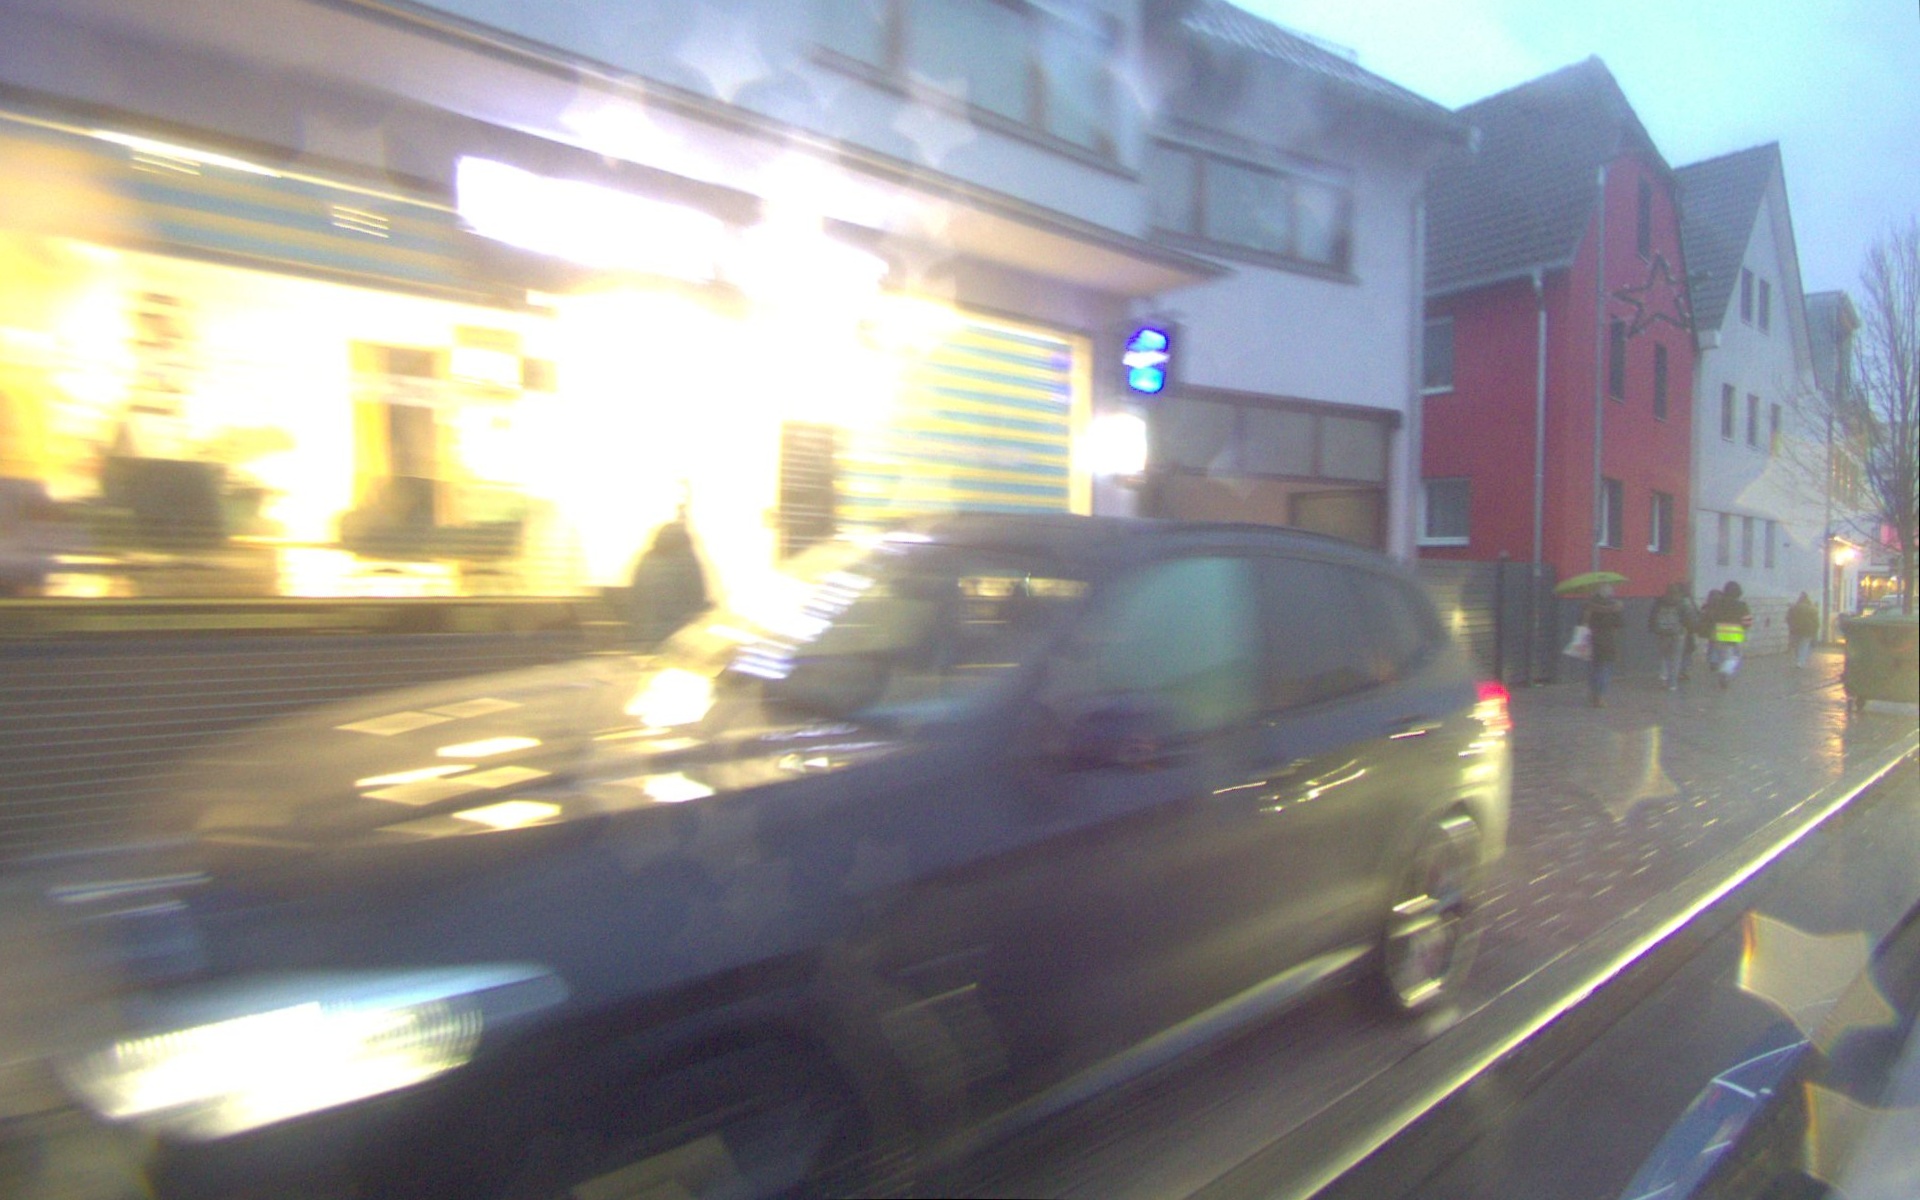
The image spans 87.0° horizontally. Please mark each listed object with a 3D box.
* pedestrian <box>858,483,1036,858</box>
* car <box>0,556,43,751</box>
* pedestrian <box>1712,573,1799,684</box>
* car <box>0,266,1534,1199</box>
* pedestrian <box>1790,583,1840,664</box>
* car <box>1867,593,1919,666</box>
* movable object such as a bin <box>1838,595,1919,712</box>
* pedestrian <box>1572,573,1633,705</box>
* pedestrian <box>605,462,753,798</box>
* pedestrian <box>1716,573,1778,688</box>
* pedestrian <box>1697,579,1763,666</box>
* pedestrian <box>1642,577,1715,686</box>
[{"bbox_3d":[-0.069,0.309,5.048,0.641,1.720,0.574,0,3,-40],"label":"pedestrian"},{"bbox_3d":[-7.295,0.403,6.032,1.646,1.445,3.895,2,0,-26],"label":"car"},{"bbox_3d":[12.924,0.443,16.453,1.013,1.736,0.716,1,1,-28],"label":"pedestrian"},{"bbox_3d":[0.048,0.493,3.105,4.312,1.713,1.738,-1,1,-43],"label":"car"},{"bbox_3d":[18.461,0.487,21.849,0.935,1.673,0.531,-3,1,-32],"label":"pedestrian"},{"bbox_3d":[21.605,0.655,22.332,4.123,1.482,1.733,0,3,-40],"label":"car"},{"bbox_3d":[12.711,0.706,13.562,1.392,1.438,1.132,1,3,-39],"label":"movable object such as a bin"},{"bbox_3d":[8.356,0.490,13.145,0.616,1.647,0.895,1,-1,35],"label":"pedestrian"},{"bbox_3d":[-1.572,0.146,5.651,0.608,1.748,0.501,-2,1,-35],"label":"pedestrian"},{"bbox_3d":[12.856,0.490,16.538,0.847,1.823,0.531,1,-1,-32],"label":"pedestrian"},{"bbox_3d":[15.669,0.448,20.594,1.032,1.699,0.749,1,1,-35],"label":"pedestrian"},{"bbox_3d":[11.196,0.482,15.778,0.998,1.650,0.482,1,1,-28],"label":"pedestrian"}]
